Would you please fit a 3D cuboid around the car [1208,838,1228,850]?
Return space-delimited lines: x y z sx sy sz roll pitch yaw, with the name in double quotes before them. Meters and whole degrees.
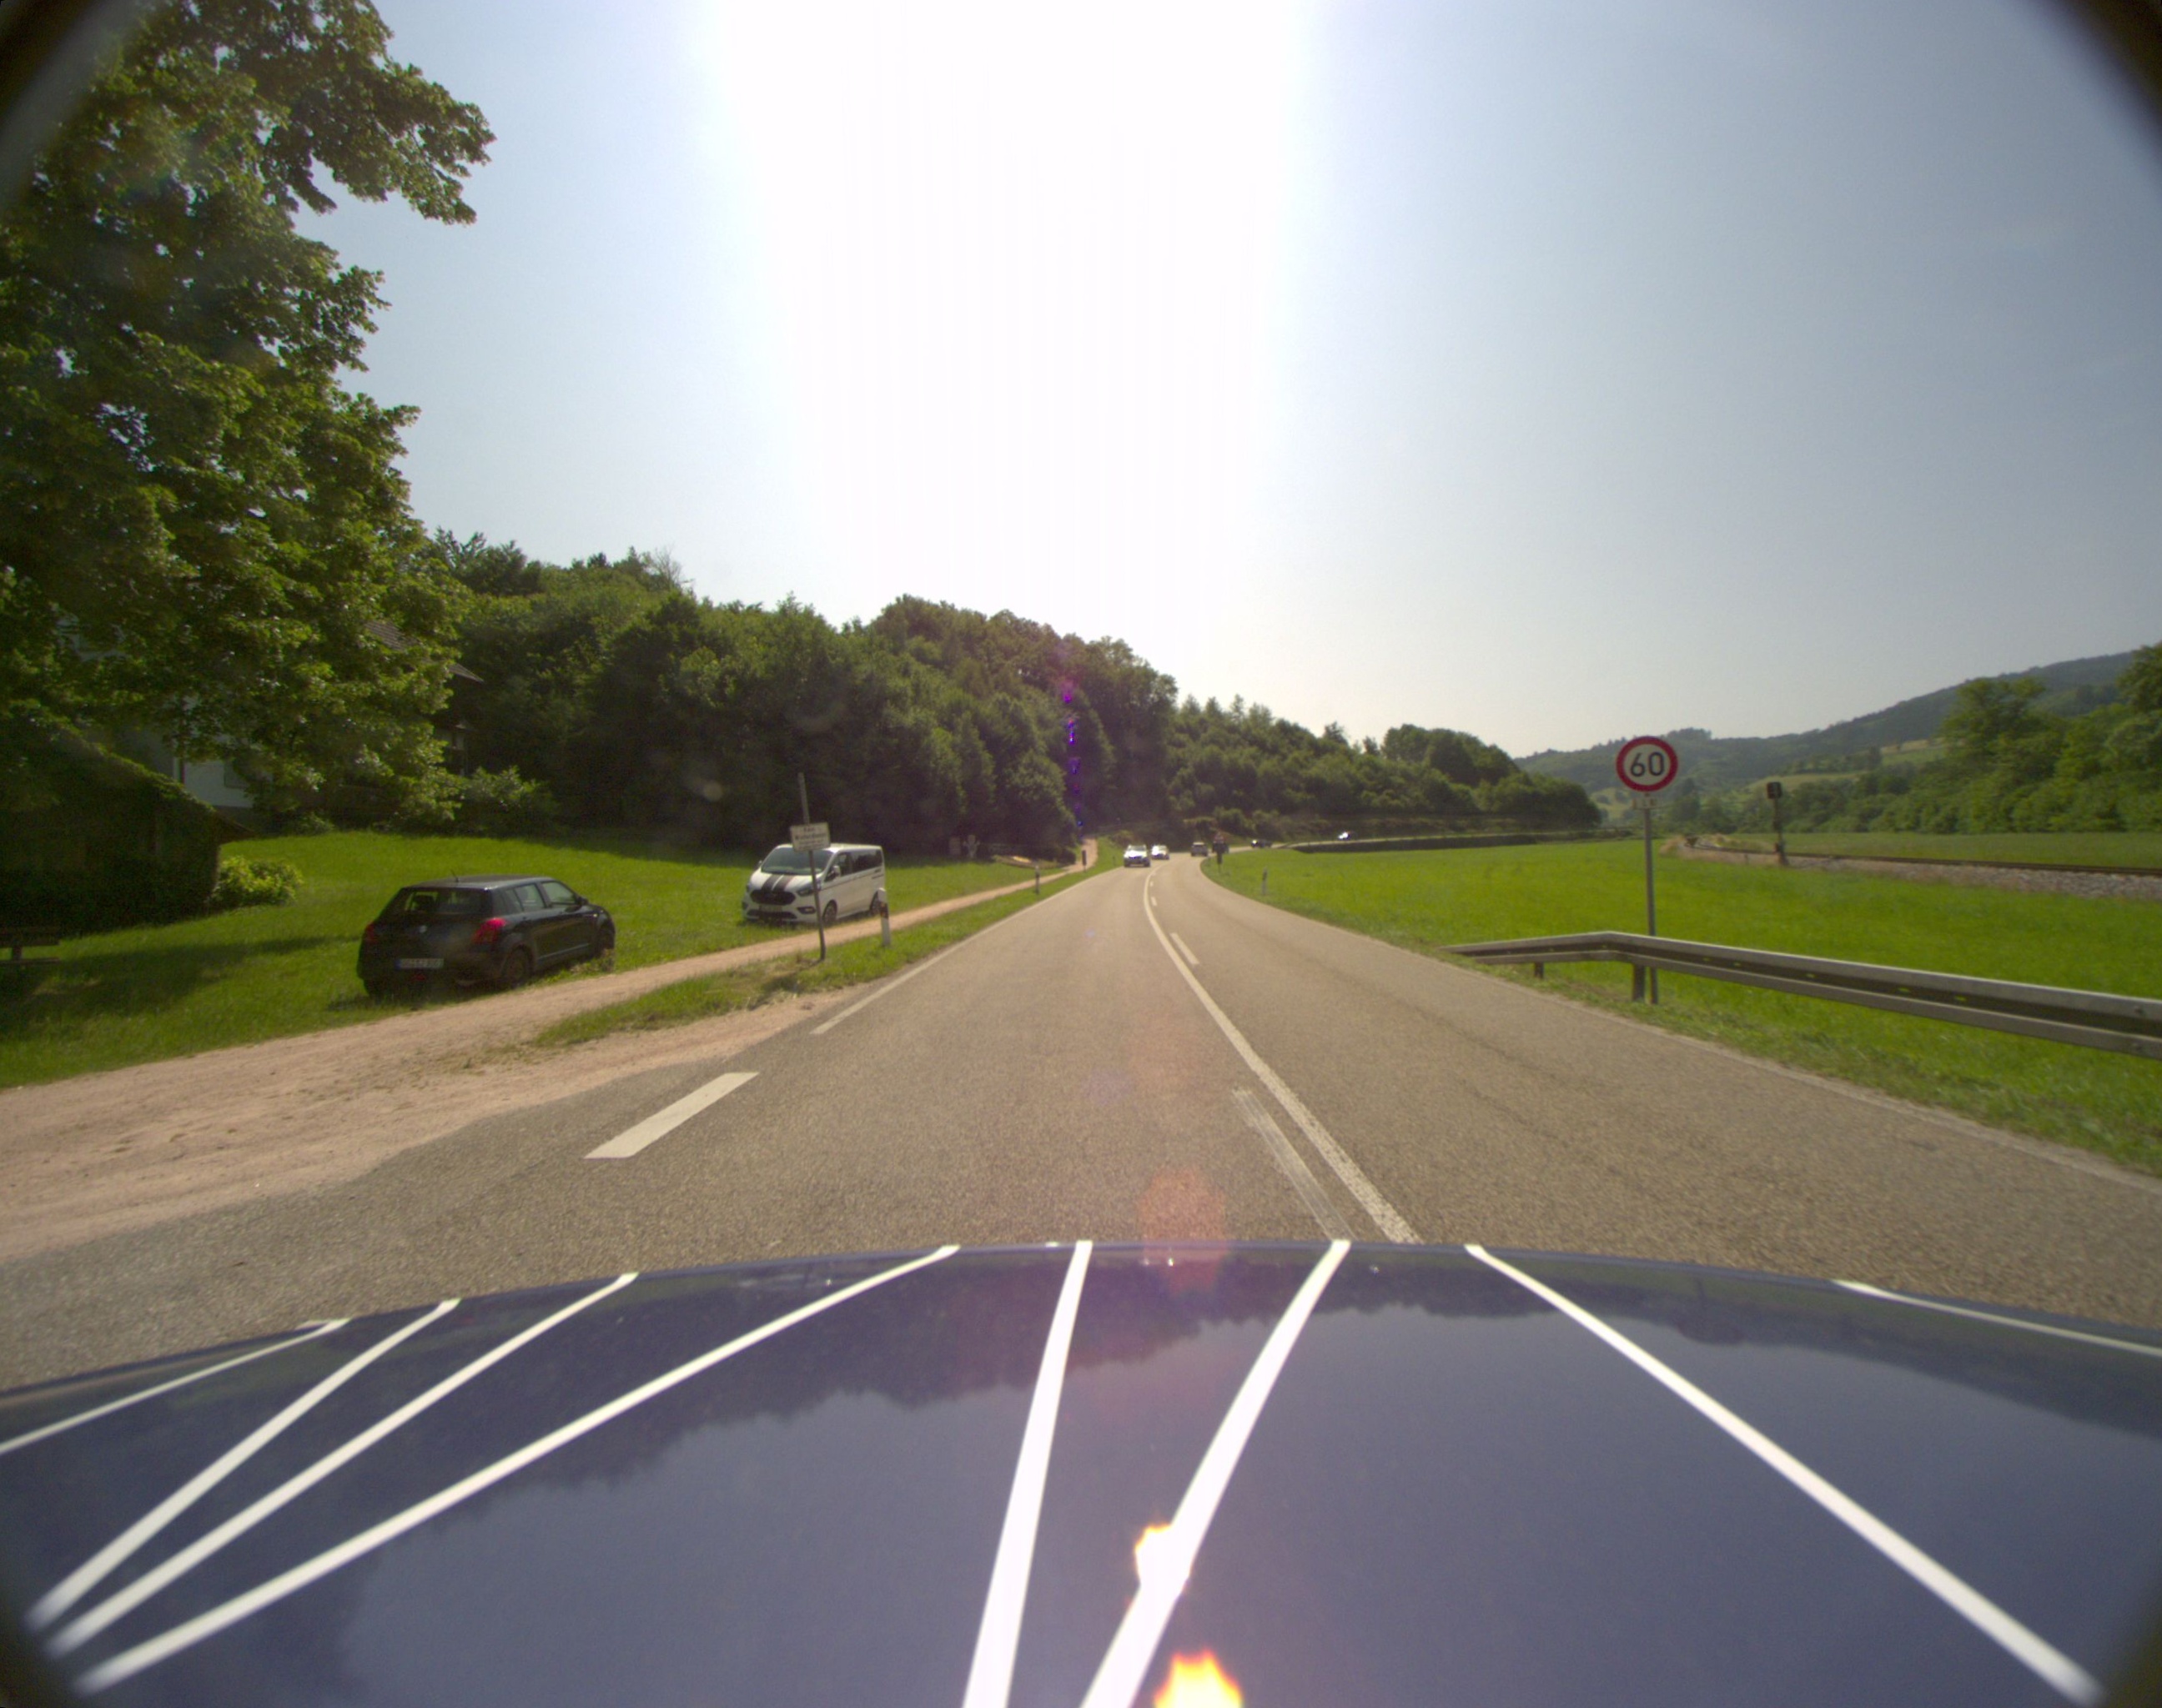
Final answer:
"car" 19.589 -1.420 108.286 1.867 1.614 4.517 -3 0 22

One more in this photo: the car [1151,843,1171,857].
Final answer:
"car" 8.701 -0.434 82.621 2.145 1.482 4.674 0 0 7

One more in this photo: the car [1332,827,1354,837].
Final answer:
"car" 52.278 -4.423 151.587 4.005 2.002 1.996 -1 1 -26

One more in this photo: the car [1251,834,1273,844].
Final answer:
"car" 30.468 -2.482 127.990 1.917 1.462 4.518 -2 2 37

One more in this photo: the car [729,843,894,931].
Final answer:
"car" -6.642 0.702 19.424 2.003 1.838 4.870 4 1 6

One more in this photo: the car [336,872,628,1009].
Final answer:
"car" -8.326 1.096 11.049 1.679 1.448 3.711 1 2 -8

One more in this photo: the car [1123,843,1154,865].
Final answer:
"car" 4.778 -0.025 62.733 2.116 1.804 4.458 -1 1 9

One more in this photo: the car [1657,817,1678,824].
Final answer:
"car" 147.208 -8.515 190.770 4.902 1.730 1.951 -1 2 -24

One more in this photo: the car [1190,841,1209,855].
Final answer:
"car" 14.660 -0.778 93.982 1.918 1.704 4.164 -1 1 15
